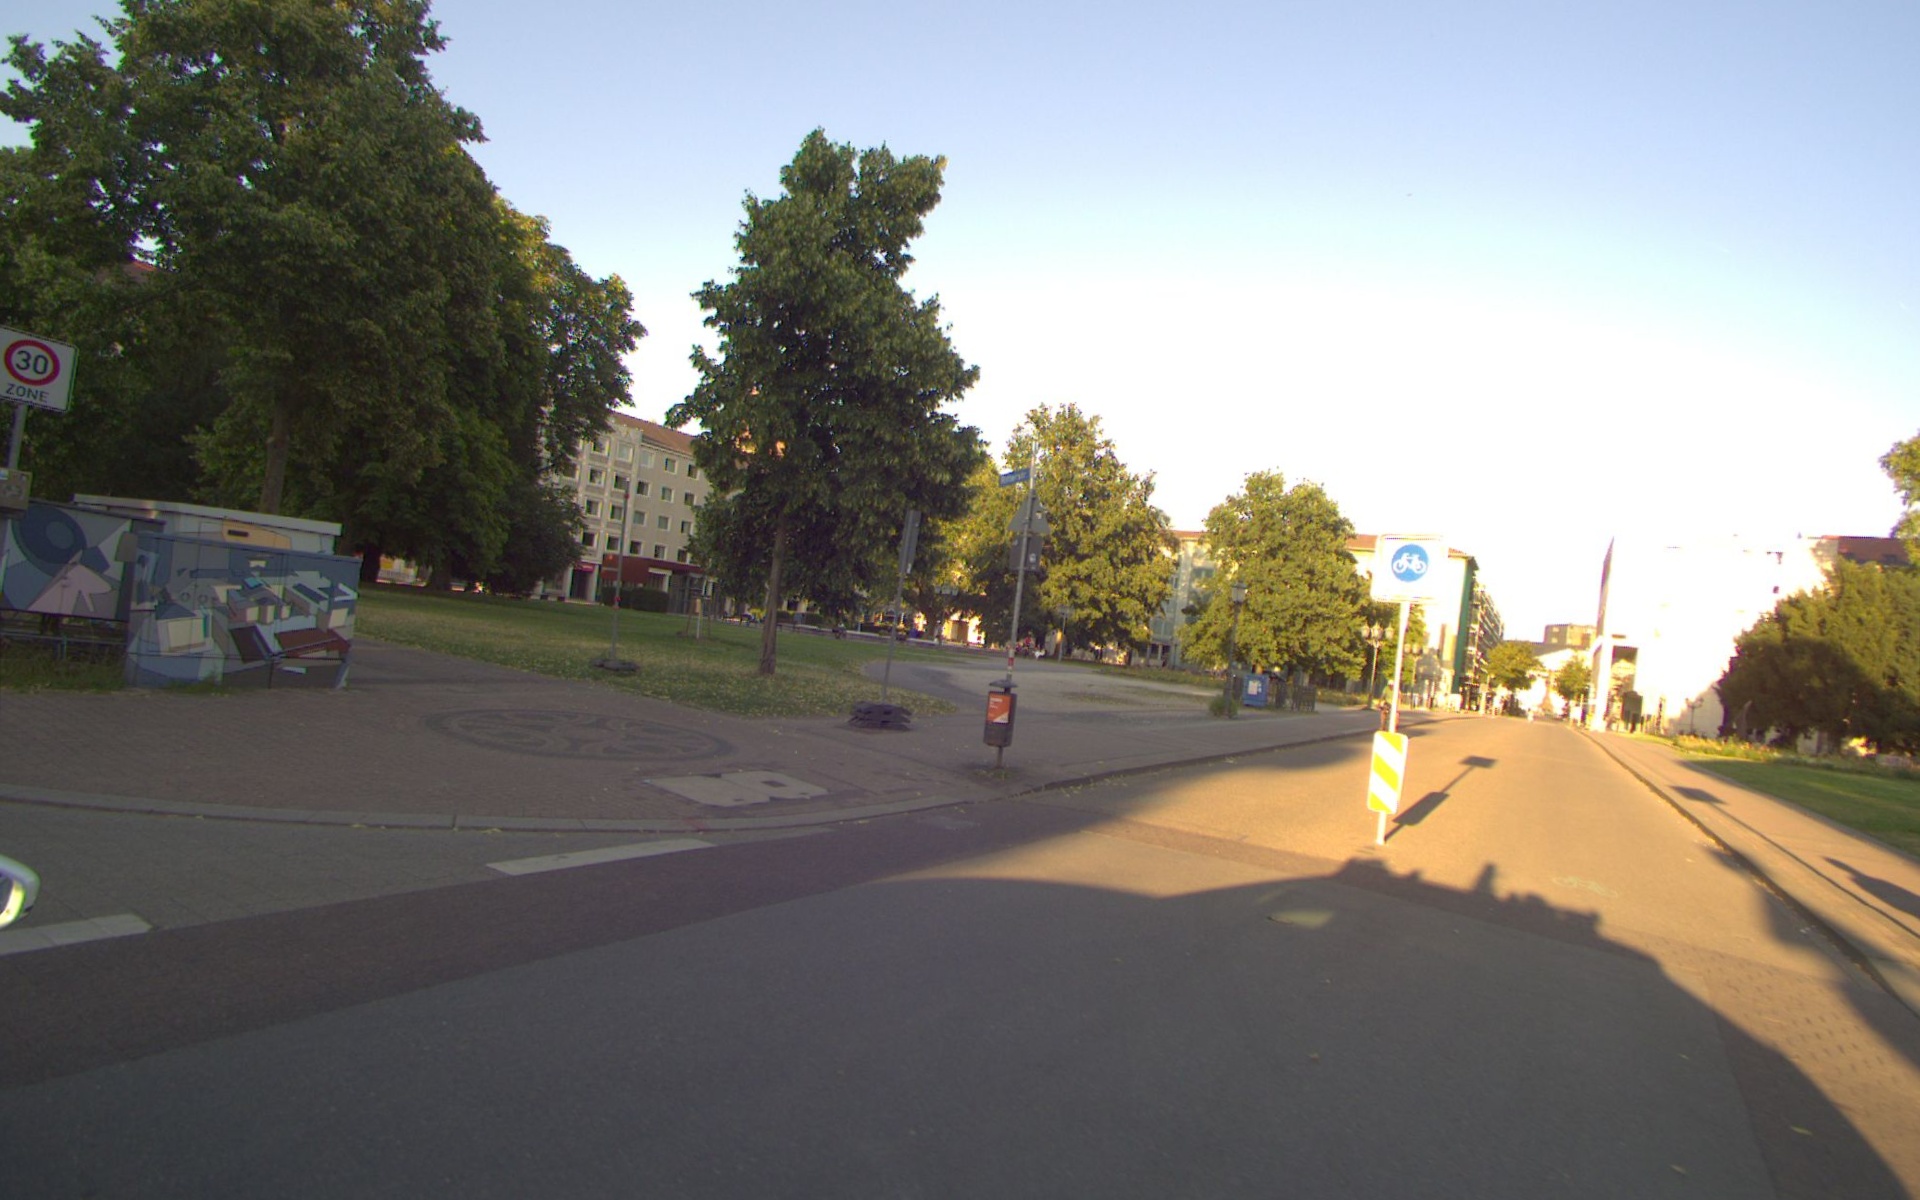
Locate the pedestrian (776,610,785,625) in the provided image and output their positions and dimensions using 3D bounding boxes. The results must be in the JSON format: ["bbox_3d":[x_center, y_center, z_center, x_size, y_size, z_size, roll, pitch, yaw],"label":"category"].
[{"bbox_3d":[-16.630,1.621,93.078,0.640,1.383,1.032,7,-1,-8],"label":"pedestrian"}]

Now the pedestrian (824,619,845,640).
[{"bbox_3d":[-7.834,1.838,62.741,0.653,1.214,1.103,6,-1,30],"label":"pedestrian"}]

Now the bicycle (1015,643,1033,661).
[{"bbox_3d":[4.809,3.916,75.687,0.557,1.191,1.768,6,-1,-19],"label":"bicycle"}]

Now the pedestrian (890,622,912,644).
[{"bbox_3d":[-3.660,2.061,62.355,0.724,1.214,1.103,6,-1,30],"label":"pedestrian"}]

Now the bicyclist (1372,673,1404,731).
[{"bbox_3d":[12.086,2.876,28.397,0.640,1.546,0.723,6,0,29],"label":"bicyclist"}]

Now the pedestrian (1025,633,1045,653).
[{"bbox_3d":[5.909,3.367,79.312,1.134,1.386,0.831,8,0,-21],"label":"pedestrian"}]

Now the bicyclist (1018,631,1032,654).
[{"bbox_3d":[4.887,3.215,75.665,0.649,1.652,0.674,6,0,-19],"label":"bicyclist"}]

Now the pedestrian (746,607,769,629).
[{"bbox_3d":[-13.288,1.185,66.050,1.061,1.308,0.834,8,0,-40],"label":"pedestrian"}]

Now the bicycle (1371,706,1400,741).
[{"bbox_3d":[12.048,3.475,28.464,0.537,0.878,1.712,6,-1,29],"label":"bicycle"}]
